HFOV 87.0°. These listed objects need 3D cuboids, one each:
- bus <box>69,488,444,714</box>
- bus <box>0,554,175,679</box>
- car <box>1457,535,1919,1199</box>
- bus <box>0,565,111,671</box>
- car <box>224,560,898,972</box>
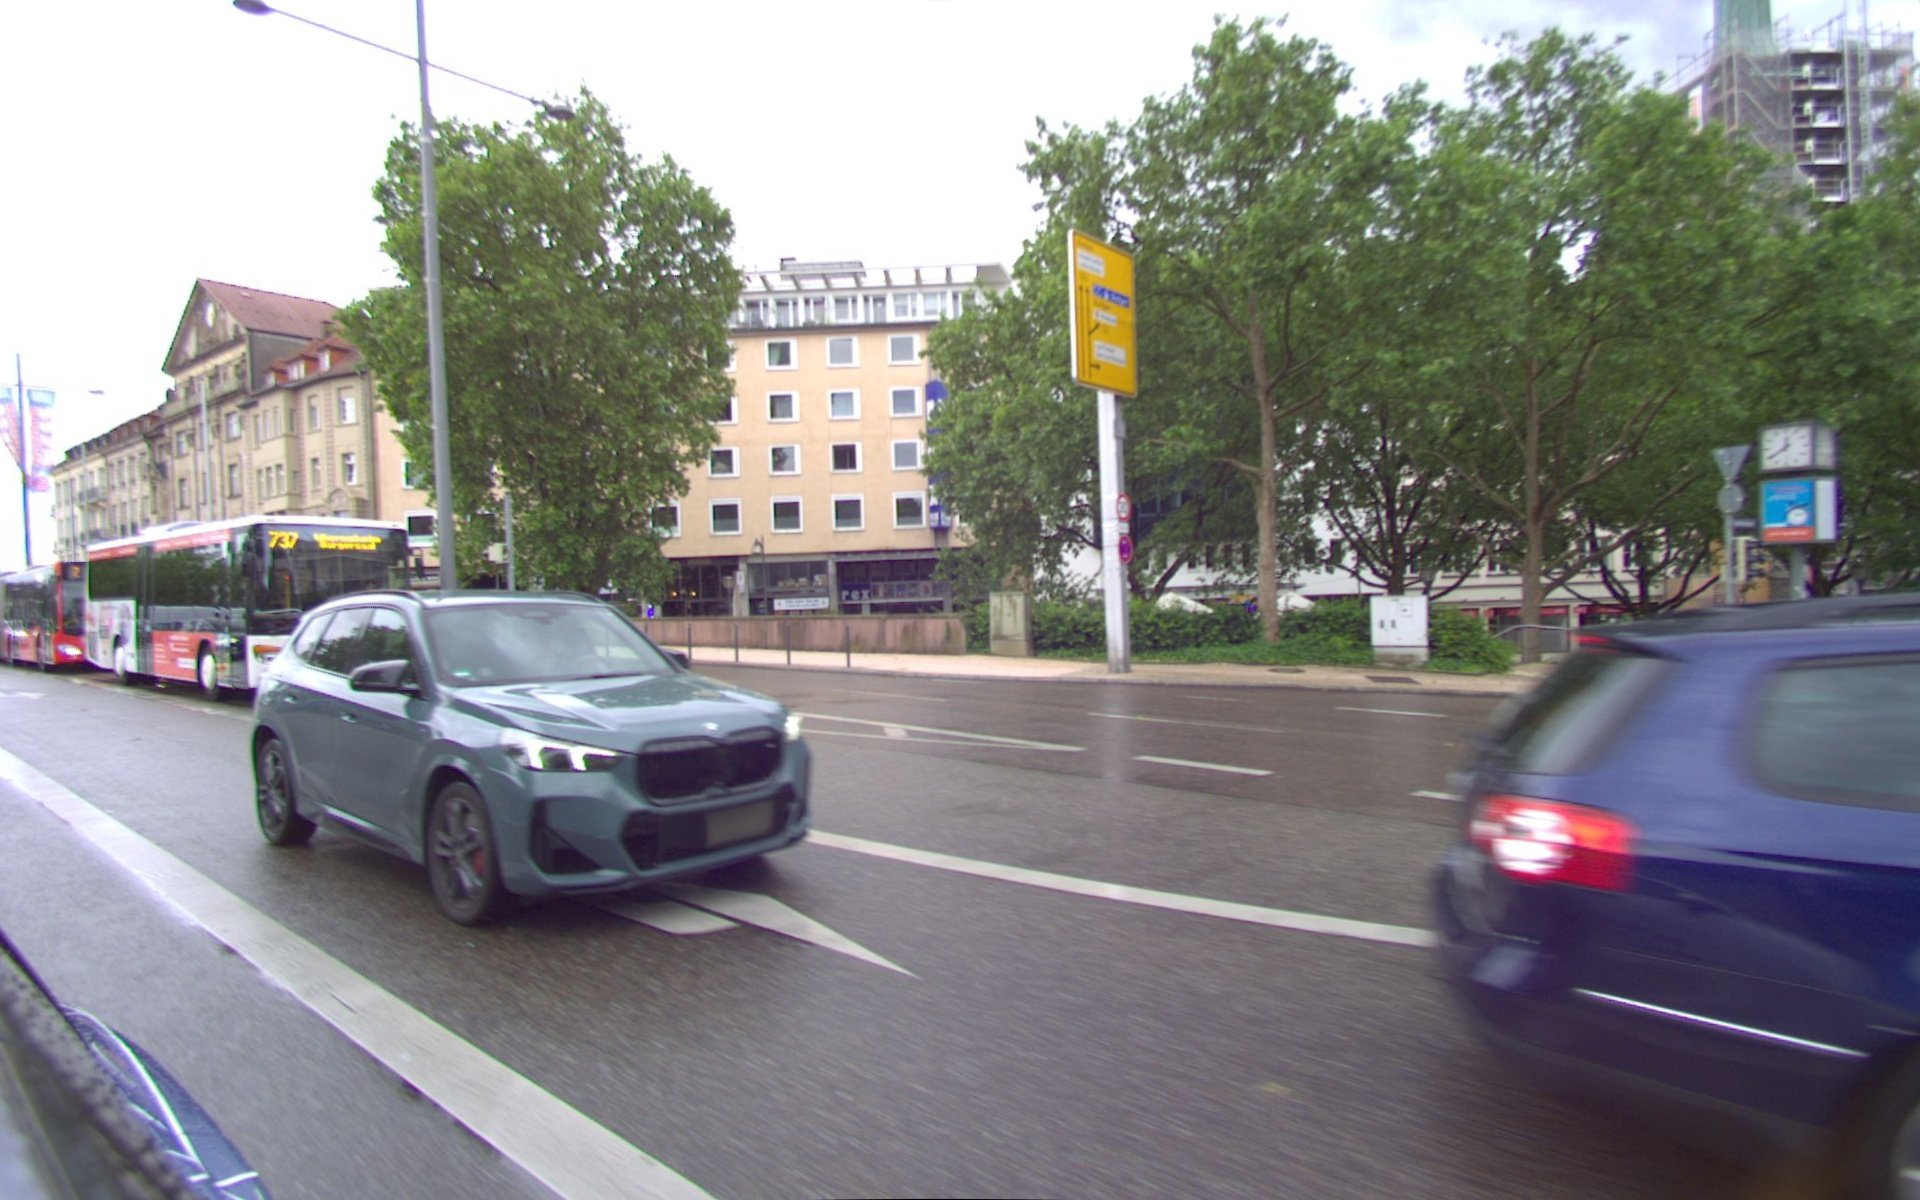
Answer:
[{"bbox_3d":[-14.896,0.131,20.659,12.545,3.465,2.926,-2,-1,39],"label":"bus"},{"bbox_3d":[-25.550,0.500,29.377,8.837,3.156,2.724,-1,-1,41],"label":"bus"},{"bbox_3d":[3.551,0.560,2.131,4.387,1.420,1.807,-1,0,24],"label":"car"},{"bbox_3d":[-32.616,0.640,35.372,9.904,3.270,2.782,-1,-1,40],"label":"bus"},{"bbox_3d":[-2.645,0.693,6.200,4.353,1.652,1.945,-1,0,39],"label":"car"}]
